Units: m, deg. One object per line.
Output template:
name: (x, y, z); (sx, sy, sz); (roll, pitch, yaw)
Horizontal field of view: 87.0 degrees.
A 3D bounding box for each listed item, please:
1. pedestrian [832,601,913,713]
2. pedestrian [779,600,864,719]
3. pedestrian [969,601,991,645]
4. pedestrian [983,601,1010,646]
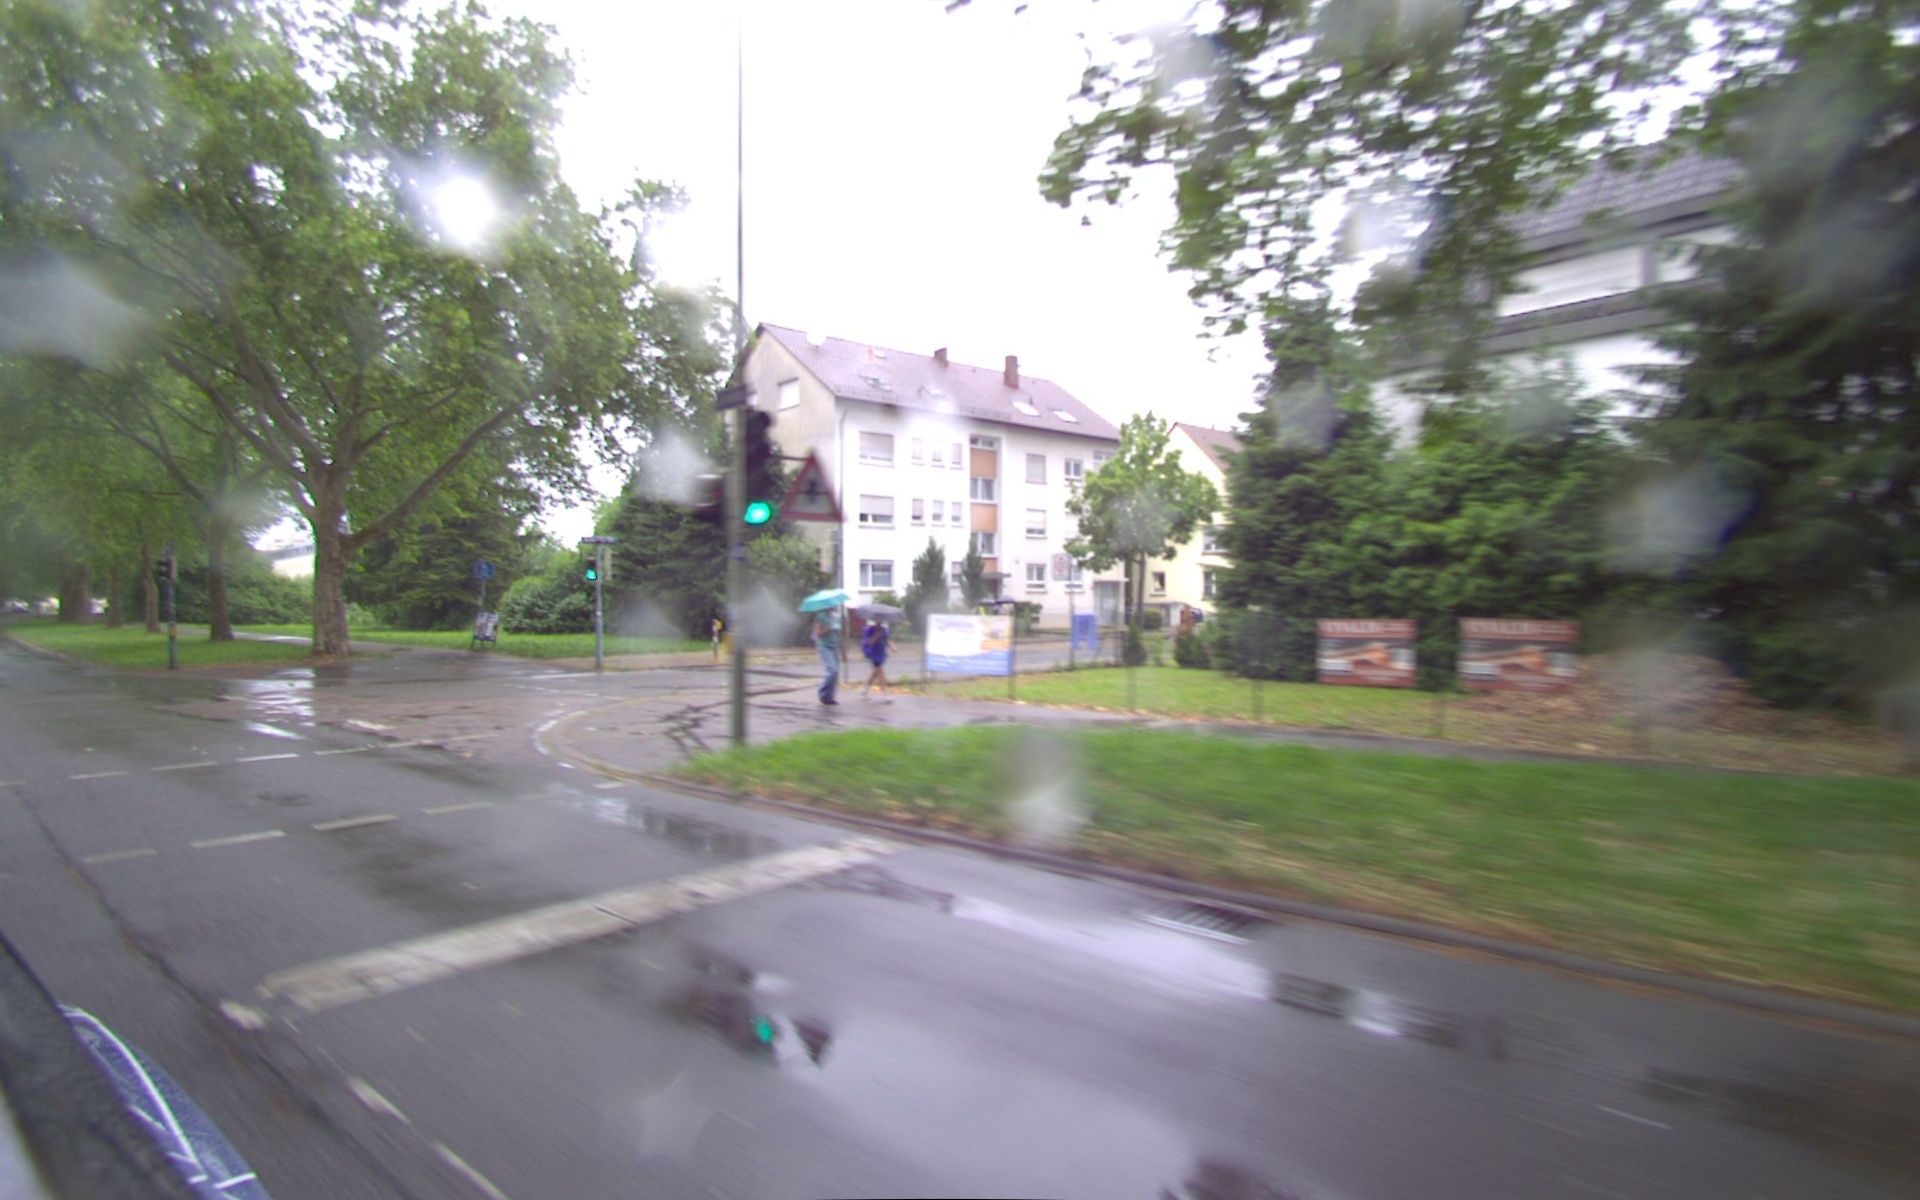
pedestrian: (-1.440, 0.914, 16.706); (0.880, 1.779, 1.021); (-1, -2, 45)
pedestrian: (-2.161, 0.908, 15.808); (0.838, 1.779, 1.021); (-1, -2, 45)
pedestrian: (0.808, 0.924, 40.449); (0.639, 1.758, 0.586); (-1, -1, 42)
pedestrian: (1.415, 0.906, 39.518); (0.639, 1.758, 0.849); (-1, -1, 42)
